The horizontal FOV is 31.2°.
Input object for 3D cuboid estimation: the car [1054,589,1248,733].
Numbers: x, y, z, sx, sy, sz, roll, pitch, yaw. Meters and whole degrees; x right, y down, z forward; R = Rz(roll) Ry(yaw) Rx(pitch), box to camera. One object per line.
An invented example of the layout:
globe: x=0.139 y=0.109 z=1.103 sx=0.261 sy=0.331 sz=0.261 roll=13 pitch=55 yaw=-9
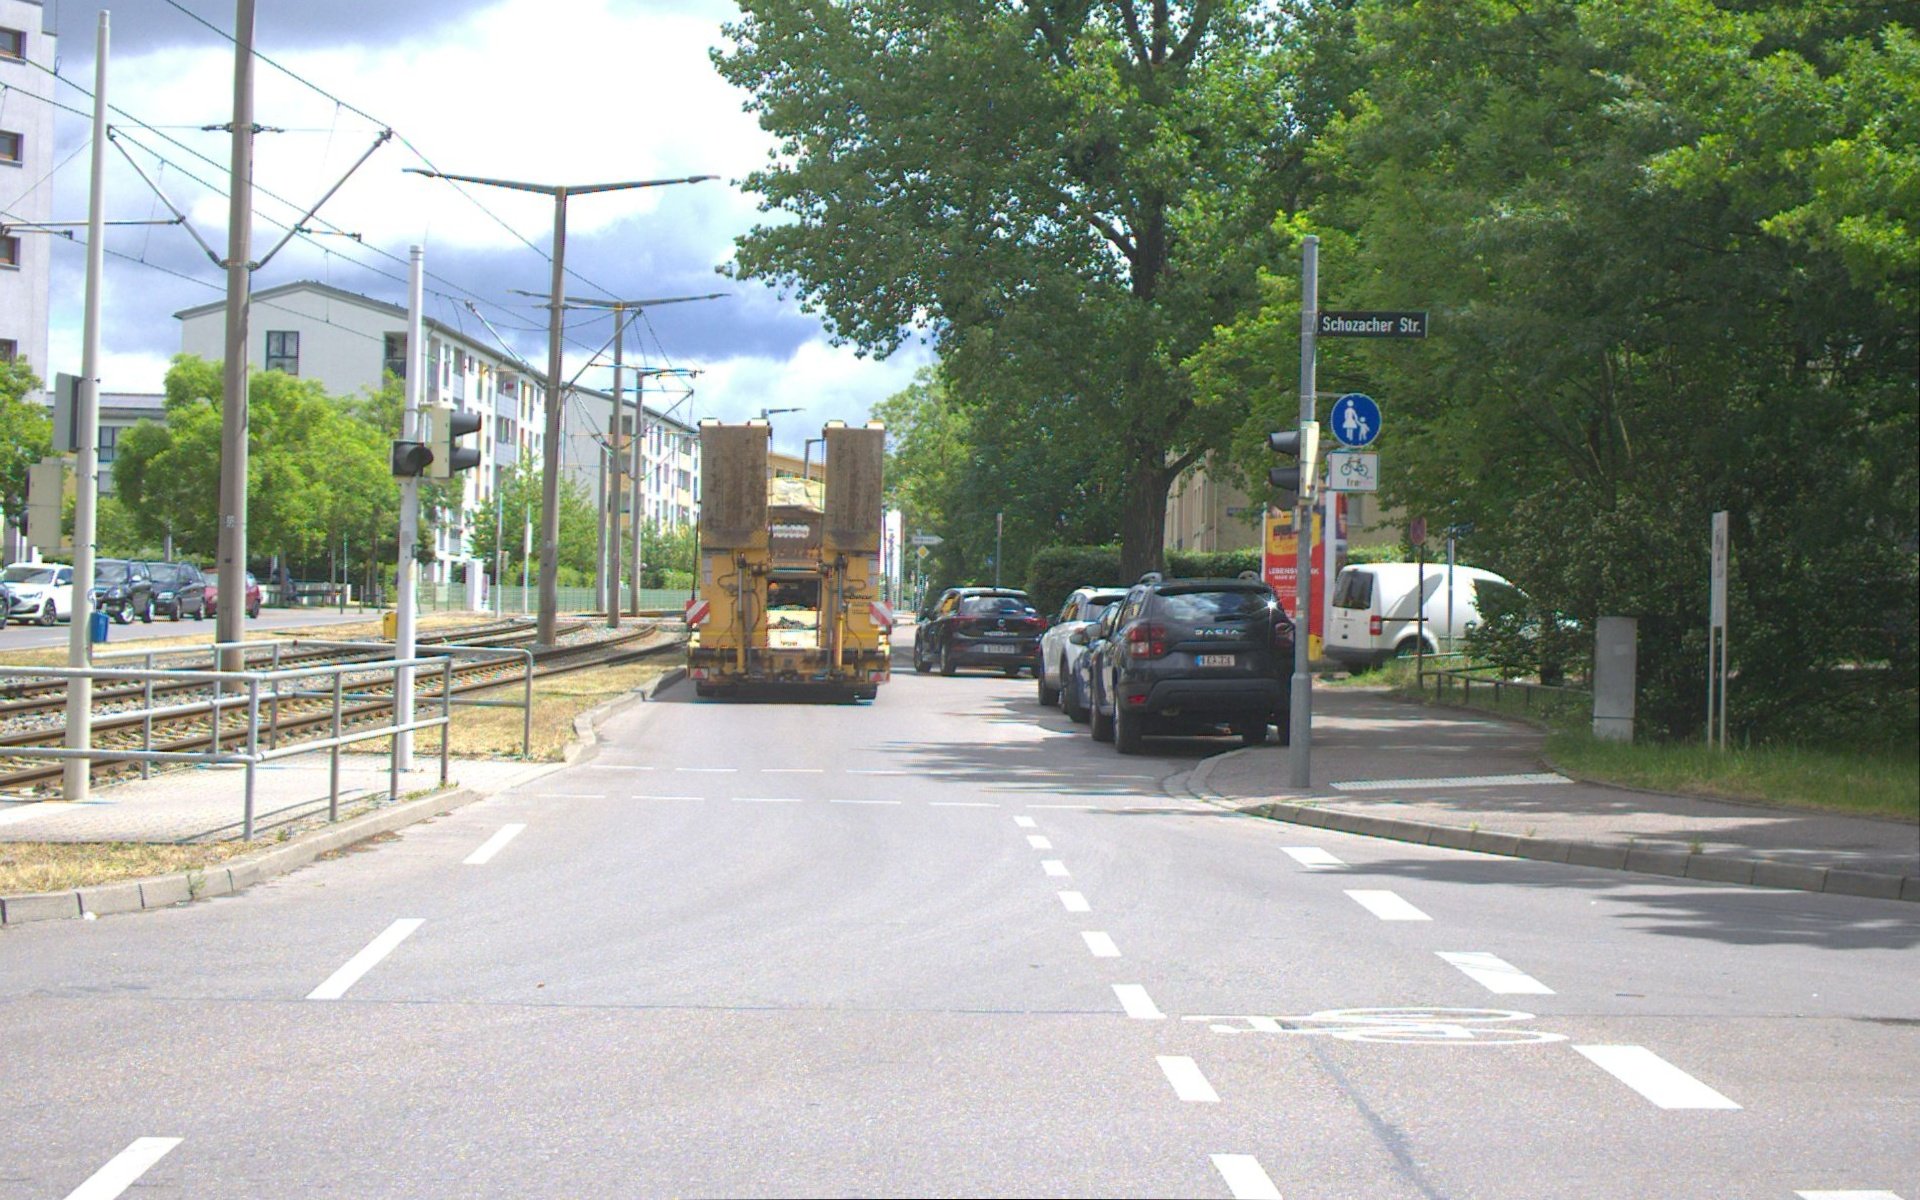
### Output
car: x=2.080 y=0.639 z=38.476 sx=1.643 sy=1.453 sz=4.077 roll=0 pitch=1 yaw=-4

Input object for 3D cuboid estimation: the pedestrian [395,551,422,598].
pedestrian: x=-19.802 y=-0.921 z=123.446 sx=0.749 sy=1.656 sz=0.869 roll=0 pitch=1 yaw=4

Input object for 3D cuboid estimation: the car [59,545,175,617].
car: x=-21.094 y=-0.498 z=86.173 sx=1.993 sy=1.657 sz=4.100 roll=2 pitch=1 yaw=-2

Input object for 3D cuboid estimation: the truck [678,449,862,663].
truck: x=-3.124 y=-0.757 z=57.504 sx=2.833 sy=3.319 sz=7.985 roll=0 pitch=1 yaw=-2

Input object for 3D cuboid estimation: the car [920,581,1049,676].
car: x=0.371 y=0.434 z=56.278 sx=1.815 sy=1.444 sz=3.827 roll=0 pitch=1 yaw=-4

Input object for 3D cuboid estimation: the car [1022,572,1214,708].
car: x=1.925 y=0.461 z=43.222 sx=1.783 sy=1.560 sz=4.571 roll=0 pitch=1 yaw=-5

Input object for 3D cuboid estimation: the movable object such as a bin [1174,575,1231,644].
movable object such as a bin: x=5.110 y=0.191 z=72.538 sx=1.098 sy=1.434 sz=0.761 roll=0 pitch=1 yaw=-2

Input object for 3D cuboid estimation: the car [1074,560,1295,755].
car: x=2.144 y=0.501 z=33.974 sx=1.643 sy=1.756 sz=4.570 roll=0 pitch=1 yaw=-3

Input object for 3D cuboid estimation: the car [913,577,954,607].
car: x=-1.297 y=-0.413 z=170.181 sx=1.993 sy=1.382 sz=4.000 roll=0 pitch=1 yaw=0

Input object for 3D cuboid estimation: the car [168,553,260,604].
car: x=-21.661 y=-0.635 z=99.945 sx=1.613 sy=1.421 sz=3.422 roll=0 pitch=1 yaw=6

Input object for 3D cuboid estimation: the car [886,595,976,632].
car: x=-1.286 y=0.579 z=151.542 sx=3.600 sy=1.579 sz=1.999 roll=1 pitch=0 yaw=12

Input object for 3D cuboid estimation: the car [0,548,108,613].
car: x=-21.825 y=-0.489 z=81.598 sx=1.754 sy=1.470 sz=4.399 roll=0 pitch=1 yaw=5

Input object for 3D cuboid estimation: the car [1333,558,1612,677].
car: x=8.084 y=0.254 z=54.277 sx=3.986 sy=1.816 sz=1.811 roll=0 pitch=1 yaw=-23

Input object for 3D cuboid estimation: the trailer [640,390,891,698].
trailer: x=-2.635 y=-0.794 z=48.025 sx=3.050 sy=3.760 sz=11.614 roll=0 pitch=1 yaw=-2

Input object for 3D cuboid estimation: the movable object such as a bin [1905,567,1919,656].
movable object such as a bin: x=15.900 y=0.188 z=55.036 sx=1.115 sy=1.425 sz=1.286 roll=0 pitch=1 yaw=-3
